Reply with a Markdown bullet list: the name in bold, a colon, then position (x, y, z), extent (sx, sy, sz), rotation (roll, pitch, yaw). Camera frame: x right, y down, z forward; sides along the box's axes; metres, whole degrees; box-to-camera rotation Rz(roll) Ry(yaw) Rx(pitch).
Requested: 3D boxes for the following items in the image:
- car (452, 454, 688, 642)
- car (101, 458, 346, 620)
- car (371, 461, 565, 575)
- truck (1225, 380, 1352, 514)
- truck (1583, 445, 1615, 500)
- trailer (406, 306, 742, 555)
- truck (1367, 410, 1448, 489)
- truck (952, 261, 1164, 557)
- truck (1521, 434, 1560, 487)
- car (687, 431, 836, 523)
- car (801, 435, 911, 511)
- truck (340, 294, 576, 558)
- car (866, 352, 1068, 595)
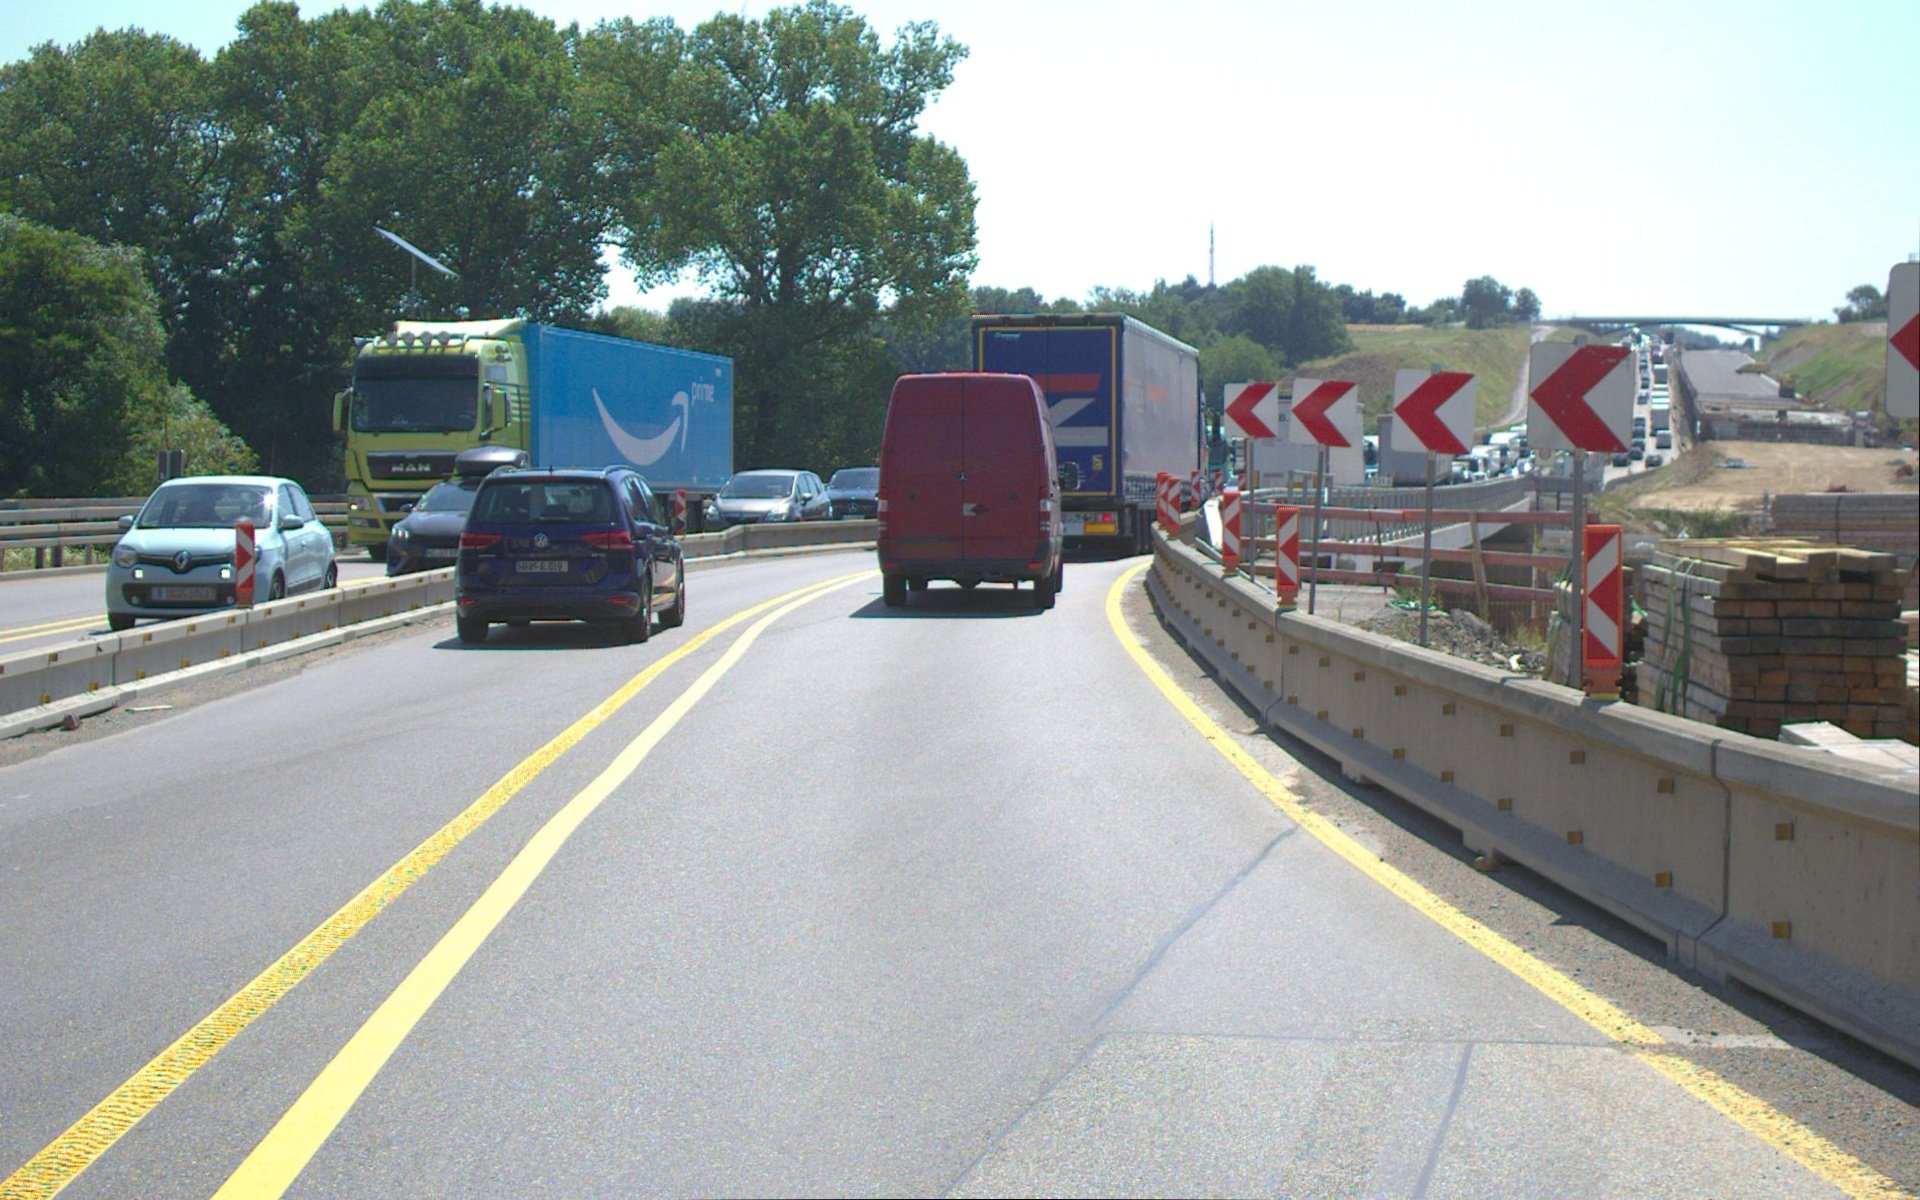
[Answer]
- **car**: position (-3.723, -0.570, 33.471), extent (1.734, 1.629, 4.390), rotation (1, 3, 1)
- **car**: position (-7.464, -0.668, 35.156), extent (1.636, 1.480, 4.001), rotation (1, 3, 0)
- **car**: position (-6.675, -1.162, 47.106), extent (1.820, 1.430, 4.583), rotation (1, 3, 2)
- **truck**: position (10.134, -4.677, 105.593), extent (3.183, 3.976, 6.739), rotation (1, 2, 11)
- **truck**: position (47.626, -9.474, 256.265), extent (2.292, 3.726, 6.479), rotation (1, -2, 11)
- **trailer**: position (-7.166, -3.114, 66.578), extent (2.649, 4.278, 13.304), rotation (2, 2, 10)
- **truck**: position (20.535, -6.840, 157.419), extent (3.185, 2.967, 8.895), rotation (1, -1, 11)
- **truck**: position (1.832, -3.318, 60.950), extent (2.946, 4.928, 6.740), rotation (1, 2, 8)
- **truck**: position (35.739, -8.574, 211.641), extent (2.292, 3.185, 6.481), rotation (1, 2, 10)
- **car**: position (-3.762, -2.324, 65.850), extent (1.821, 1.579, 4.299), rotation (2, 0, 11)
- **car**: position (-2.359, -2.903, 79.210), extent (1.881, 1.641, 4.714), rotation (2, 2, 6)
- **truck**: position (-8.528, -2.923, 58.870), extent (2.626, 4.255, 4.730), rotation (2, 2, 8)
- **car**: position (0.064, -1.424, 40.376), extent (2.150, 2.602, 5.439), rotation (1, 1, 0)
